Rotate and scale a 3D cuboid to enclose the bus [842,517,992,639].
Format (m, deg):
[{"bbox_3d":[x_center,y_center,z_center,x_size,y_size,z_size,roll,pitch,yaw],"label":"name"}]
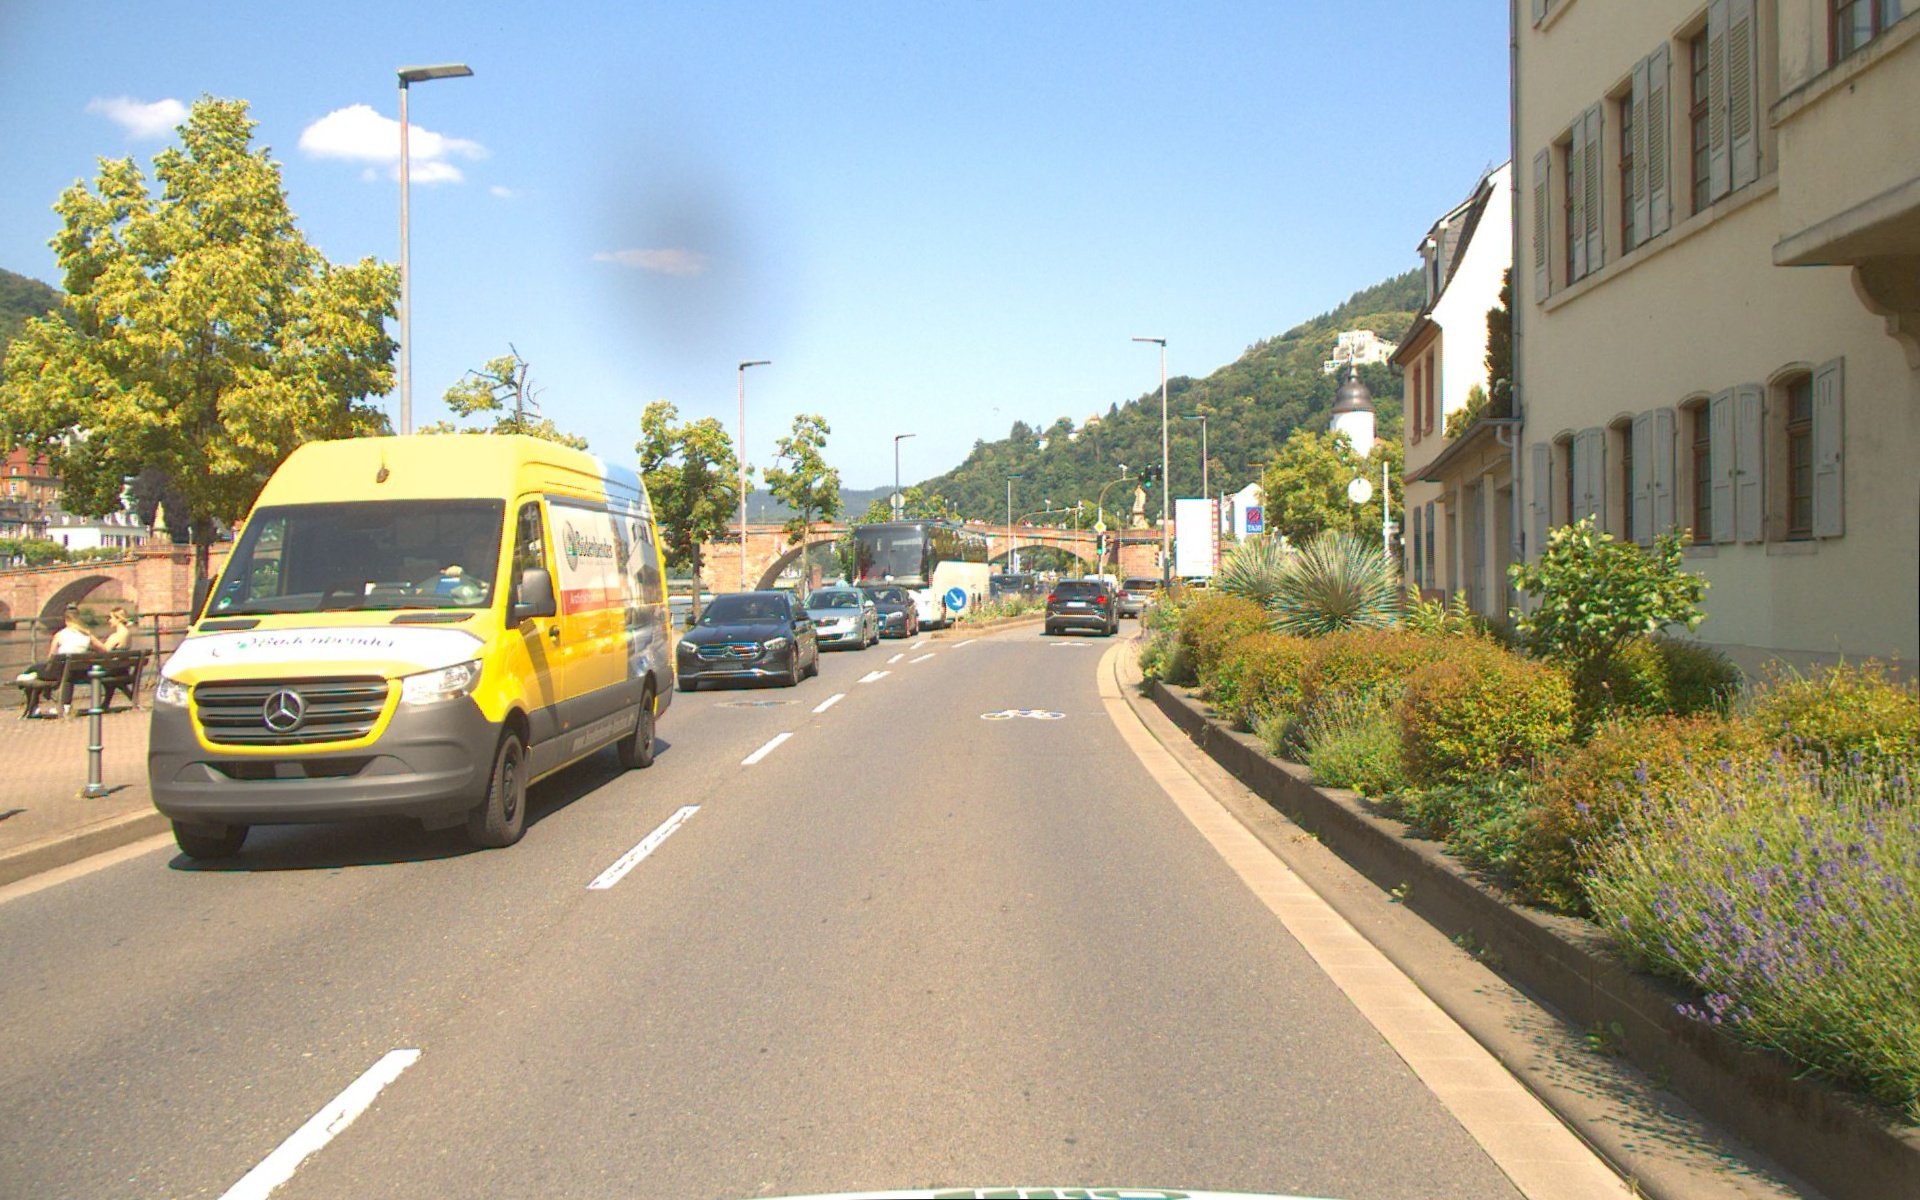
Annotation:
[{"bbox_3d":[-1.208,-0.712,56.872,2.575,3.626,12.994,-2,0,10],"label":"bus"}]

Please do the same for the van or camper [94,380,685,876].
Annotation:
[{"bbox_3d":[-3.646,0.117,12.417,2.045,2.601,7.090,-2,0,-1],"label":"van or camper"}]

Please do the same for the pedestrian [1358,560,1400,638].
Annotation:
[{"bbox_3d":[9.566,-0.025,37.779,0.722,1.728,0.934,-3,0,5],"label":"pedestrian"}]

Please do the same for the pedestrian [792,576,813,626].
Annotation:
[{"bbox_3d":[-5.785,0.025,60.888,0.607,1.811,0.662,-2,0,5],"label":"pedestrian"}]

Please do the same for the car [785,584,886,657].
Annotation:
[{"bbox_3d":[-2.917,0.447,39.635,1.776,1.453,4.313,-4,1,3],"label":"car"}]

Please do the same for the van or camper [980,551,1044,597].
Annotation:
[{"bbox_3d":[2.406,-1.189,75.375,1.951,1.905,5.184,-3,0,12],"label":"van or camper"}]

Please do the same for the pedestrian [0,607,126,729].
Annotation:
[{"bbox_3d":[-10.161,0.753,18.725,0.916,1.303,0.850,-2,0,6],"label":"pedestrian"}]

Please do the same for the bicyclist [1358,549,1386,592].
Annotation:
[{"bbox_3d":[15.963,-1.149,64.127,0.751,1.611,1.089,-2,0,0],"label":"bicyclist"}]

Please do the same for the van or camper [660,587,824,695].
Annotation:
[{"bbox_3d":[-3.438,0.590,26.983,1.953,1.480,4.682,-4,0,0],"label":"van or camper"}]

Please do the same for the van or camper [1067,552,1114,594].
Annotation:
[{"bbox_3d":[8.308,-1.660,104.796,1.951,2.492,5.499,-4,-1,14],"label":"van or camper"}]

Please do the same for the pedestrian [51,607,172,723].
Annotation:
[{"bbox_3d":[-10.062,0.764,19.634,0.916,1.303,0.850,-2,0,6],"label":"pedestrian"}]

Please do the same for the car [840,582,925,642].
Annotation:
[{"bbox_3d":[-2.097,0.298,46.031,1.778,1.454,4.195,-3,1,5],"label":"car"}]

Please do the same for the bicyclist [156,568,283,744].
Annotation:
[{"bbox_3d":[-7.499,0.541,16.801,0.725,1.696,1.089,-2,1,0],"label":"bicyclist"}]

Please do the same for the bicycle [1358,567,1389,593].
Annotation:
[{"bbox_3d":[15.977,-0.781,63.914,0.734,0.980,1.782,-1,0,-1],"label":"bicycle"}]

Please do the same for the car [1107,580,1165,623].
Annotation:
[{"bbox_3d":[6.743,0.037,63.057,1.885,1.486,4.836,-2,1,9],"label":"car"}]

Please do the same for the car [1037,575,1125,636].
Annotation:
[{"bbox_3d":[3.409,0.111,45.778,1.885,1.580,4.836,1,1,11],"label":"car"}]

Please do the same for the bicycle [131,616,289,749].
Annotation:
[{"bbox_3d":[-7.498,0.791,16.630,0.697,1.189,1.896,-1,1,-1],"label":"bicycle"}]

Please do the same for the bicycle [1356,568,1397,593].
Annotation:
[{"bbox_3d":[21.094,-0.982,83.739,1.959,1.219,0.521,1,2,25],"label":"bicycle"}]

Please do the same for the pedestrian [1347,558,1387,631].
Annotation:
[{"bbox_3d":[9.260,-0.131,37.670,0.745,1.623,0.696,-2,0,5],"label":"pedestrian"}]
